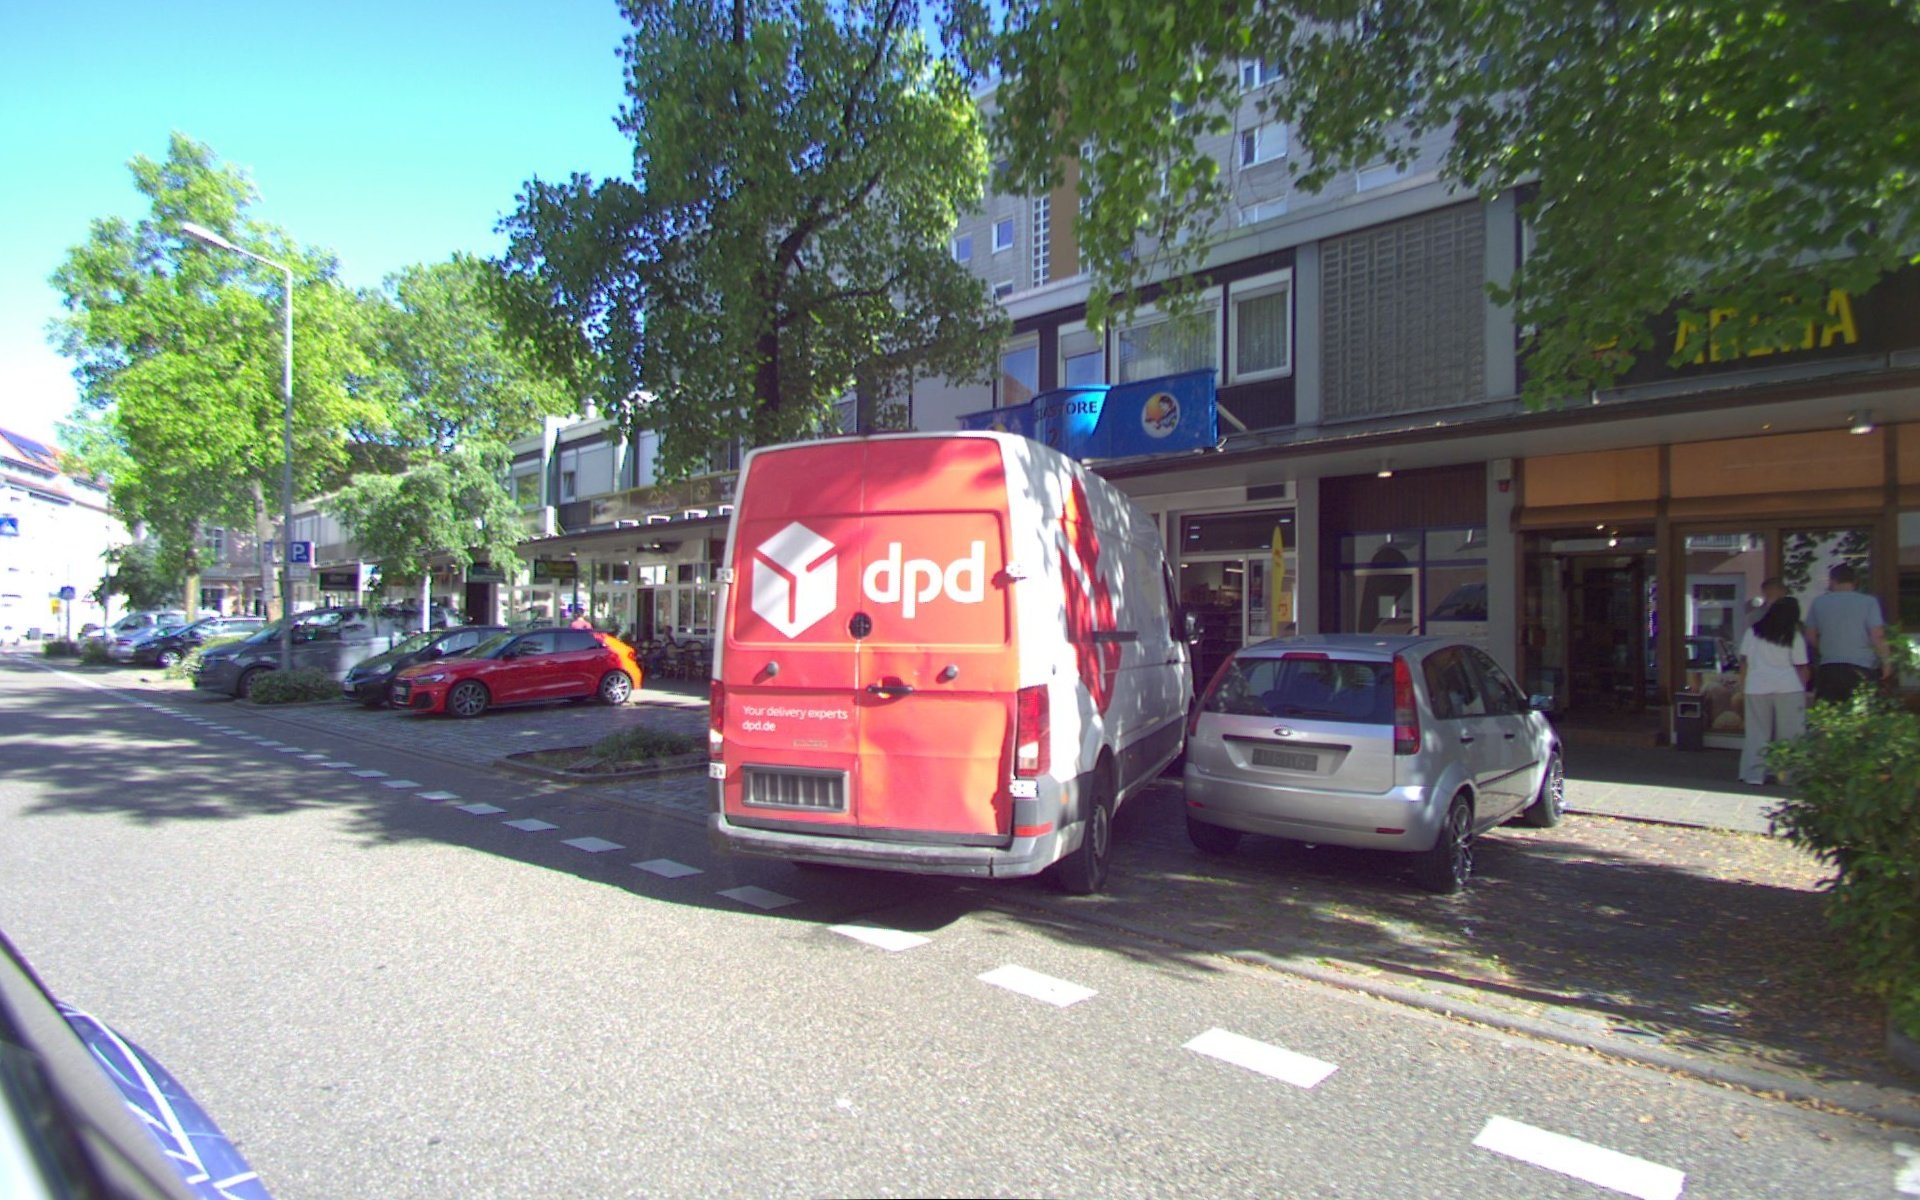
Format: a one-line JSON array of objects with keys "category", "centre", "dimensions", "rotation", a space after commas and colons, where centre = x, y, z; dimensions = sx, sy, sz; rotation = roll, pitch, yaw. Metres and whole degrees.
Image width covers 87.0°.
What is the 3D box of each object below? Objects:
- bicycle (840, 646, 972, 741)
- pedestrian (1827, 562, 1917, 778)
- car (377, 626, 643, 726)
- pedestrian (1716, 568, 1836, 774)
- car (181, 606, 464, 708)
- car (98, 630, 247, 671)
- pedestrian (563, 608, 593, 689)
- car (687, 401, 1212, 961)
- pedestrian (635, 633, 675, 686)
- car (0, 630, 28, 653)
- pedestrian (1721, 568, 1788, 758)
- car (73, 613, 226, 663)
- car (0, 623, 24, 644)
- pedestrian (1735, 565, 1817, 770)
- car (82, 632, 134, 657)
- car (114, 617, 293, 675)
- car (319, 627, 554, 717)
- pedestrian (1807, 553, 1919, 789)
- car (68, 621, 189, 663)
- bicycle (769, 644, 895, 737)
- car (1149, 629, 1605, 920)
[{"category": "bicycle", "centre": [-0.702, 1.228, 13.765], "dimensions": [1.846, 1.115, 0.587], "rotation": [-1, 0, -44]}, {"category": "pedestrian", "centre": [8.502, 0.631, 9.449], "dimensions": [0.579, 1.918, 0.588], "rotation": [-1, -2, 42]}, {"category": "car", "centre": [-7.707, 1.221, 17.587], "dimensions": [1.710, 1.462, 3.875], "rotation": [-2, -1, 42]}, {"category": "pedestrian", "centre": [7.136, 0.605, 8.866], "dimensions": [0.590, 1.725, 0.589], "rotation": [1, -2, -25]}, {"category": "car", "centre": [-13.858, 1.150, 22.266], "dimensions": [1.873, 1.953, 4.976], "rotation": [-2, -1, 42]}, {"category": "car", "centre": [-28.235, 1.777, 36.373], "dimensions": [1.759, 1.409, 3.945], "rotation": [-2, -2, 41]}, {"category": "pedestrian", "centre": [-8.243, 1.039, 21.857], "dimensions": [0.571, 1.725, 0.637], "rotation": [0, -1, -19]}, {"category": "car", "centre": [0.628, 0.455, 7.951], "dimensions": [1.985, 2.493, 6.560], "rotation": [-1, -2, 20]}, {"category": "pedestrian", "centre": [-7.355, 1.427, 24.402], "dimensions": [0.746, 1.255, 0.642], "rotation": [-2, -3, 44]}, {"category": "car", "centre": [-60.877, 2.592, 64.141], "dimensions": [1.608, 1.432, 3.305], "rotation": [1, -2, -24]}, {"category": "pedestrian", "centre": [8.281, 0.643, 10.544], "dimensions": [0.492, 1.918, 0.448], "rotation": [-1, -2, 42]}, {"category": "car", "centre": [-34.890, 1.595, 43.677], "dimensions": [1.909, 1.984, 4.930], "rotation": [-2, -1, 41]}, {"category": "car", "centre": [-65.670, 2.290, 69.072], "dimensions": [1.608, 1.431, 3.305], "rotation": [0, -1, -24]}, {"category": "pedestrian", "centre": [7.981, 0.636, 9.899], "dimensions": [0.579, 1.918, 0.588], "rotation": [-1, -2, 41]}, {"category": "car", "centre": [-59.391, 3.065, 70.607], "dimensions": [1.645, 1.650, 4.061], "rotation": [1, -2, -23]}, {"category": "car", "centre": [-26.062, 1.528, 35.005], "dimensions": [1.873, 1.790, 4.718], "rotation": [-2, -1, 41]}, {"category": "car", "centre": [-9.814, 1.275, 19.154], "dimensions": [1.612, 1.462, 3.629], "rotation": [-1, -1, 40]}, {"category": "pedestrian", "centre": [7.876, 0.598, 8.774], "dimensions": [0.590, 1.950, 0.589], "rotation": [1, -2, -25]}, {"category": "car", "centre": [-37.030, 1.845, 45.148], "dimensions": [1.757, 1.805, 3.944], "rotation": [-2, -2, 42]}, {"category": "bicycle", "centre": [-1.760, 1.224, 14.107], "dimensions": [1.699, 1.125, 0.623], "rotation": [-1, 0, -44]}, {"category": "car", "centre": [3.060, 0.935, 7.055], "dimensions": [1.831, 1.431, 3.555], "rotation": [-1, -2, 42]}]
